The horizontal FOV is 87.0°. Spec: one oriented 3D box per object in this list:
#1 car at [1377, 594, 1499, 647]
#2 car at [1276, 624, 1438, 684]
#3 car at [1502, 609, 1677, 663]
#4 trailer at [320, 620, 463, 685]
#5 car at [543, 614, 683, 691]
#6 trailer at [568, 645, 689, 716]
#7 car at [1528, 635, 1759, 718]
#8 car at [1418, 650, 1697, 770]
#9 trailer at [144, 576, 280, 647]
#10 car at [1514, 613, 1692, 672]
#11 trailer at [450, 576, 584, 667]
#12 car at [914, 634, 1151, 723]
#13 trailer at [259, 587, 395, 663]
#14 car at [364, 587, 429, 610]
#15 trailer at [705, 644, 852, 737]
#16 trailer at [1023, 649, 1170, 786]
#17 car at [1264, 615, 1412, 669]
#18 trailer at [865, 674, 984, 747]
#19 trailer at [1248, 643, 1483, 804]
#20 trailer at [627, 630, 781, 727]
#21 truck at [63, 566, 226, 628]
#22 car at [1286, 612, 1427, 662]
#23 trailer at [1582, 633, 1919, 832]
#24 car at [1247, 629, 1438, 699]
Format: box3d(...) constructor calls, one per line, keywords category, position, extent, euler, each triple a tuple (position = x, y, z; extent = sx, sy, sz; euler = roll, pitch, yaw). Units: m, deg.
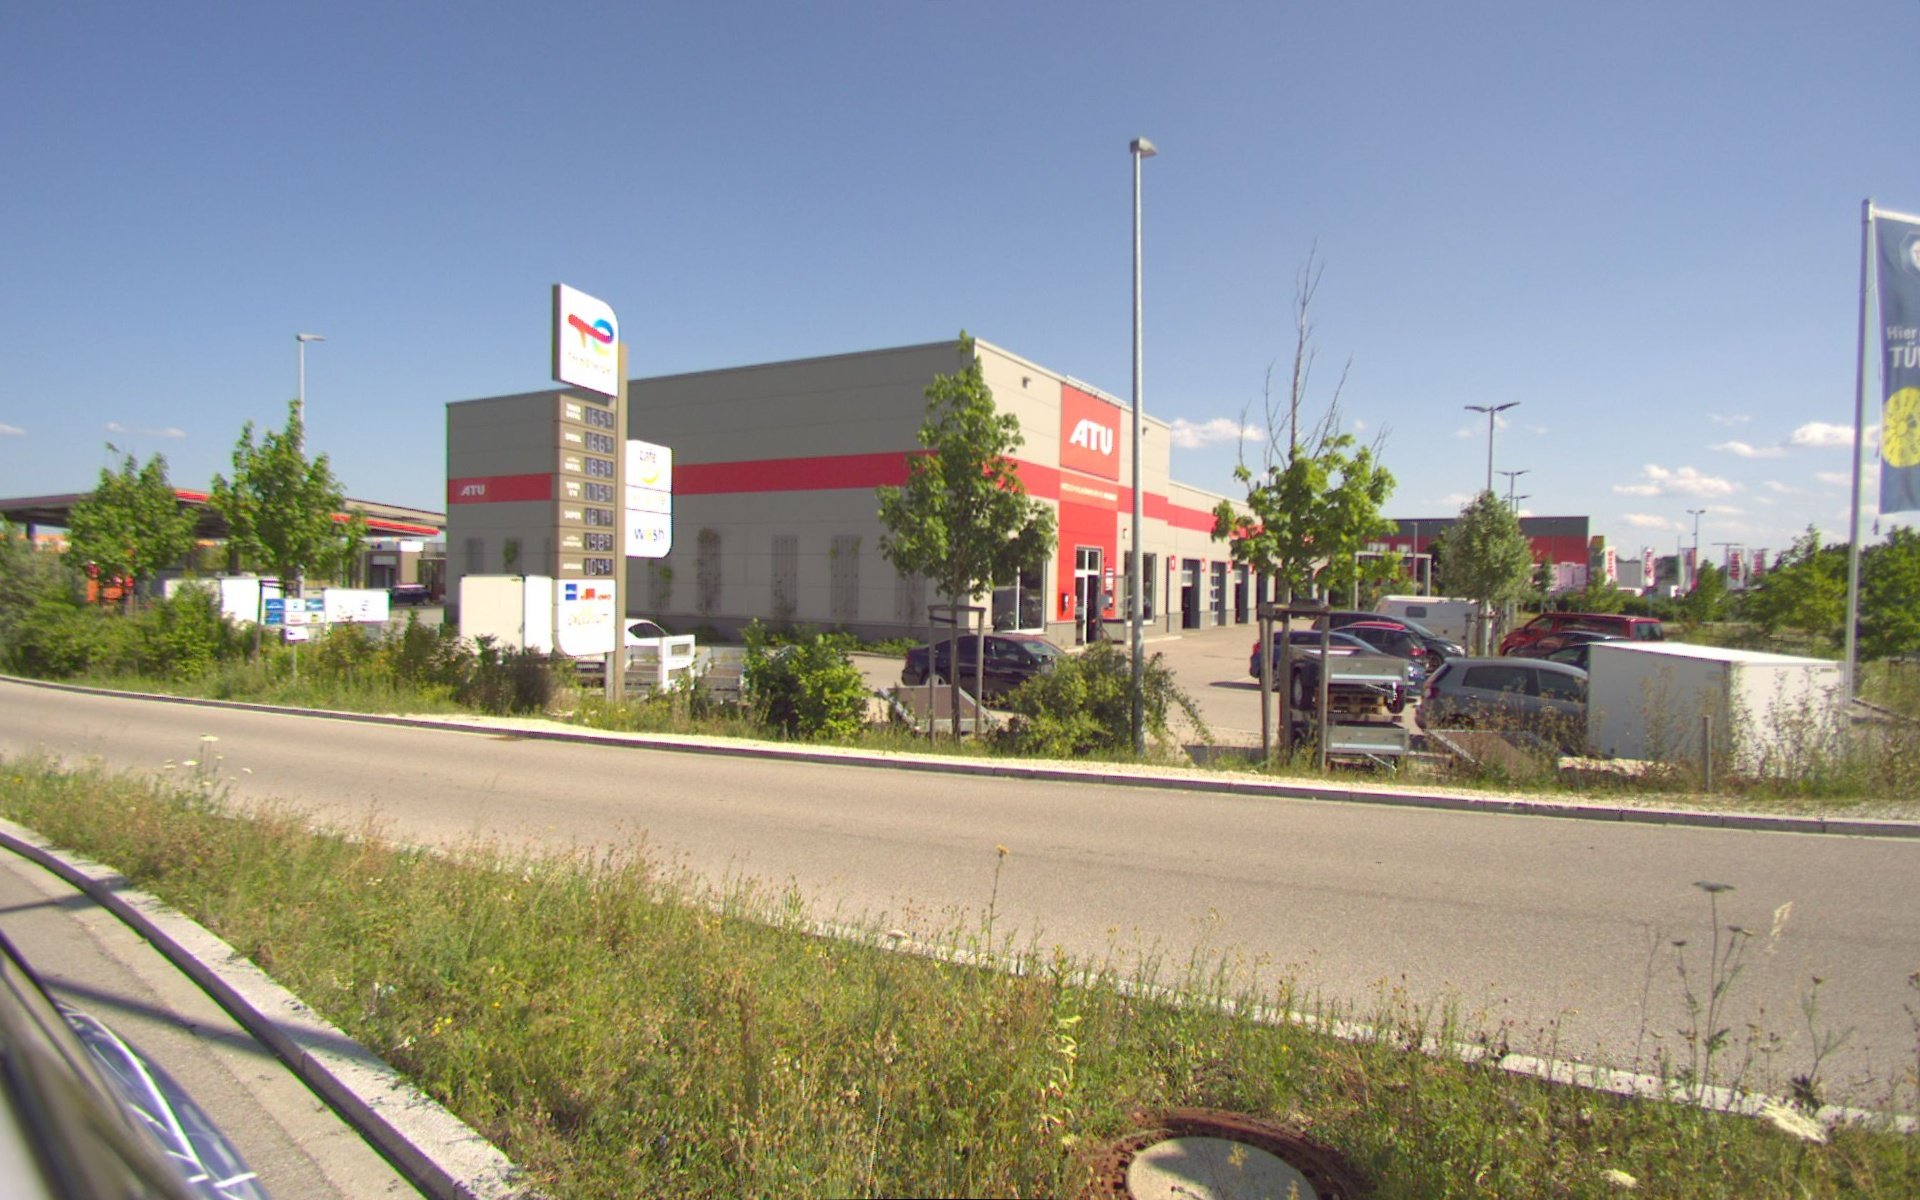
box3d(category="car", position=(19.260, 0.774, 40.831), extent=(4.332, 2.029, 1.884), euler=(0, 1, 30))
box3d(category="car", position=(11.191, 1.464, 28.632), extent=(3.990, 1.475, 1.804), euler=(0, 1, 34))
box3d(category="car", position=(19.935, 1.079, 32.256), extent=(1.794, 1.475, 4.470), euler=(-1, 1, -25))
box3d(category="trailer", position=(-15.268, 1.364, 27.380), extent=(1.580, 1.521, 3.594), euler=(-1, 1, 6))
box3d(category="car", position=(-7.985, 1.153, 23.677), extent=(1.697, 1.548, 3.995), euler=(0, 1, 4))
box3d(category="trailer", position=(-6.256, 1.497, 19.350), extent=(1.303, 1.094, 2.773), euler=(0, 1, 3))
box3d(category="car", position=(15.572, 1.678, 23.299), extent=(1.794, 1.475, 4.014), euler=(2, 1, -25))
box3d(category="car", position=(9.612, 1.691, 16.504), extent=(3.731, 1.563, 1.725), euler=(0, 1, 32))
box3d(category="trailer", position=(-22.596, 0.308, 30.728), extent=(1.969, 2.029, 3.211), euler=(-1, 1, -6))
box3d(category="car", position=(18.468, 1.175, 29.281), extent=(1.794, 1.475, 4.013), euler=(-1, 1, -25))
box3d(category="trailer", position=(-10.583, 0.462, 24.408), extent=(1.724, 2.029, 3.238), euler=(0, 1, 2))
box3d(category="car", position=(1.395, 1.495, 20.381), extent=(4.486, 1.495, 1.783), euler=(0, 0, 34))
box3d(category="trailer", position=(-17.680, 0.659, 28.388), extent=(1.975, 2.029, 2.732), euler=(0, 1, 6))
box3d(category="car", position=(-39.703, -0.106, 71.349), extent=(1.694, 1.586, 3.637), euler=(0, 1, 39))
box3d(category="trailer", position=(-3.135, 1.527, 17.927), extent=(1.378, 1.332, 2.895), euler=(0, 1, 17))
box3d(category="trailer", position=(1.956, 1.679, 15.532), extent=(1.684, 1.462, 3.698), euler=(0, 3, -1))
box3d(category="car", position=(11.683, 1.258, 31.340), extent=(3.990, 1.475, 1.804), euler=(0, 1, 34))
box3d(category="trailer", position=(-0.541, 1.825, 17.127), extent=(1.841, 0.888, 2.837), euler=(0, 1, 1))
box3d(category="trailer", position=(5.533, 1.603, 14.357), extent=(1.782, 1.785, 3.697), euler=(0, 1, -1))
box3d(category="trailer", position=(-4.653, 1.378, 18.822), extent=(1.533, 1.495, 3.179), euler=(0, 1, 12))
box3d(category="truck", position=(-46.570, -0.224, 58.043), extent=(2.624, 3.343, 6.854), euler=(0, 1, 22))
box3d(category="car", position=(12.850, 1.161, 32.850), extent=(3.990, 1.475, 1.804), euler=(0, 1, 34))
box3d(category="trailer", position=(9.716, 1.451, 12.447), extent=(1.782, 1.785, 3.698), euler=(-1, 2, -1))
box3d(category="car", position=(8.929, 1.435, 23.667), extent=(3.983, 1.475, 1.807), euler=(0, -2, 29))
